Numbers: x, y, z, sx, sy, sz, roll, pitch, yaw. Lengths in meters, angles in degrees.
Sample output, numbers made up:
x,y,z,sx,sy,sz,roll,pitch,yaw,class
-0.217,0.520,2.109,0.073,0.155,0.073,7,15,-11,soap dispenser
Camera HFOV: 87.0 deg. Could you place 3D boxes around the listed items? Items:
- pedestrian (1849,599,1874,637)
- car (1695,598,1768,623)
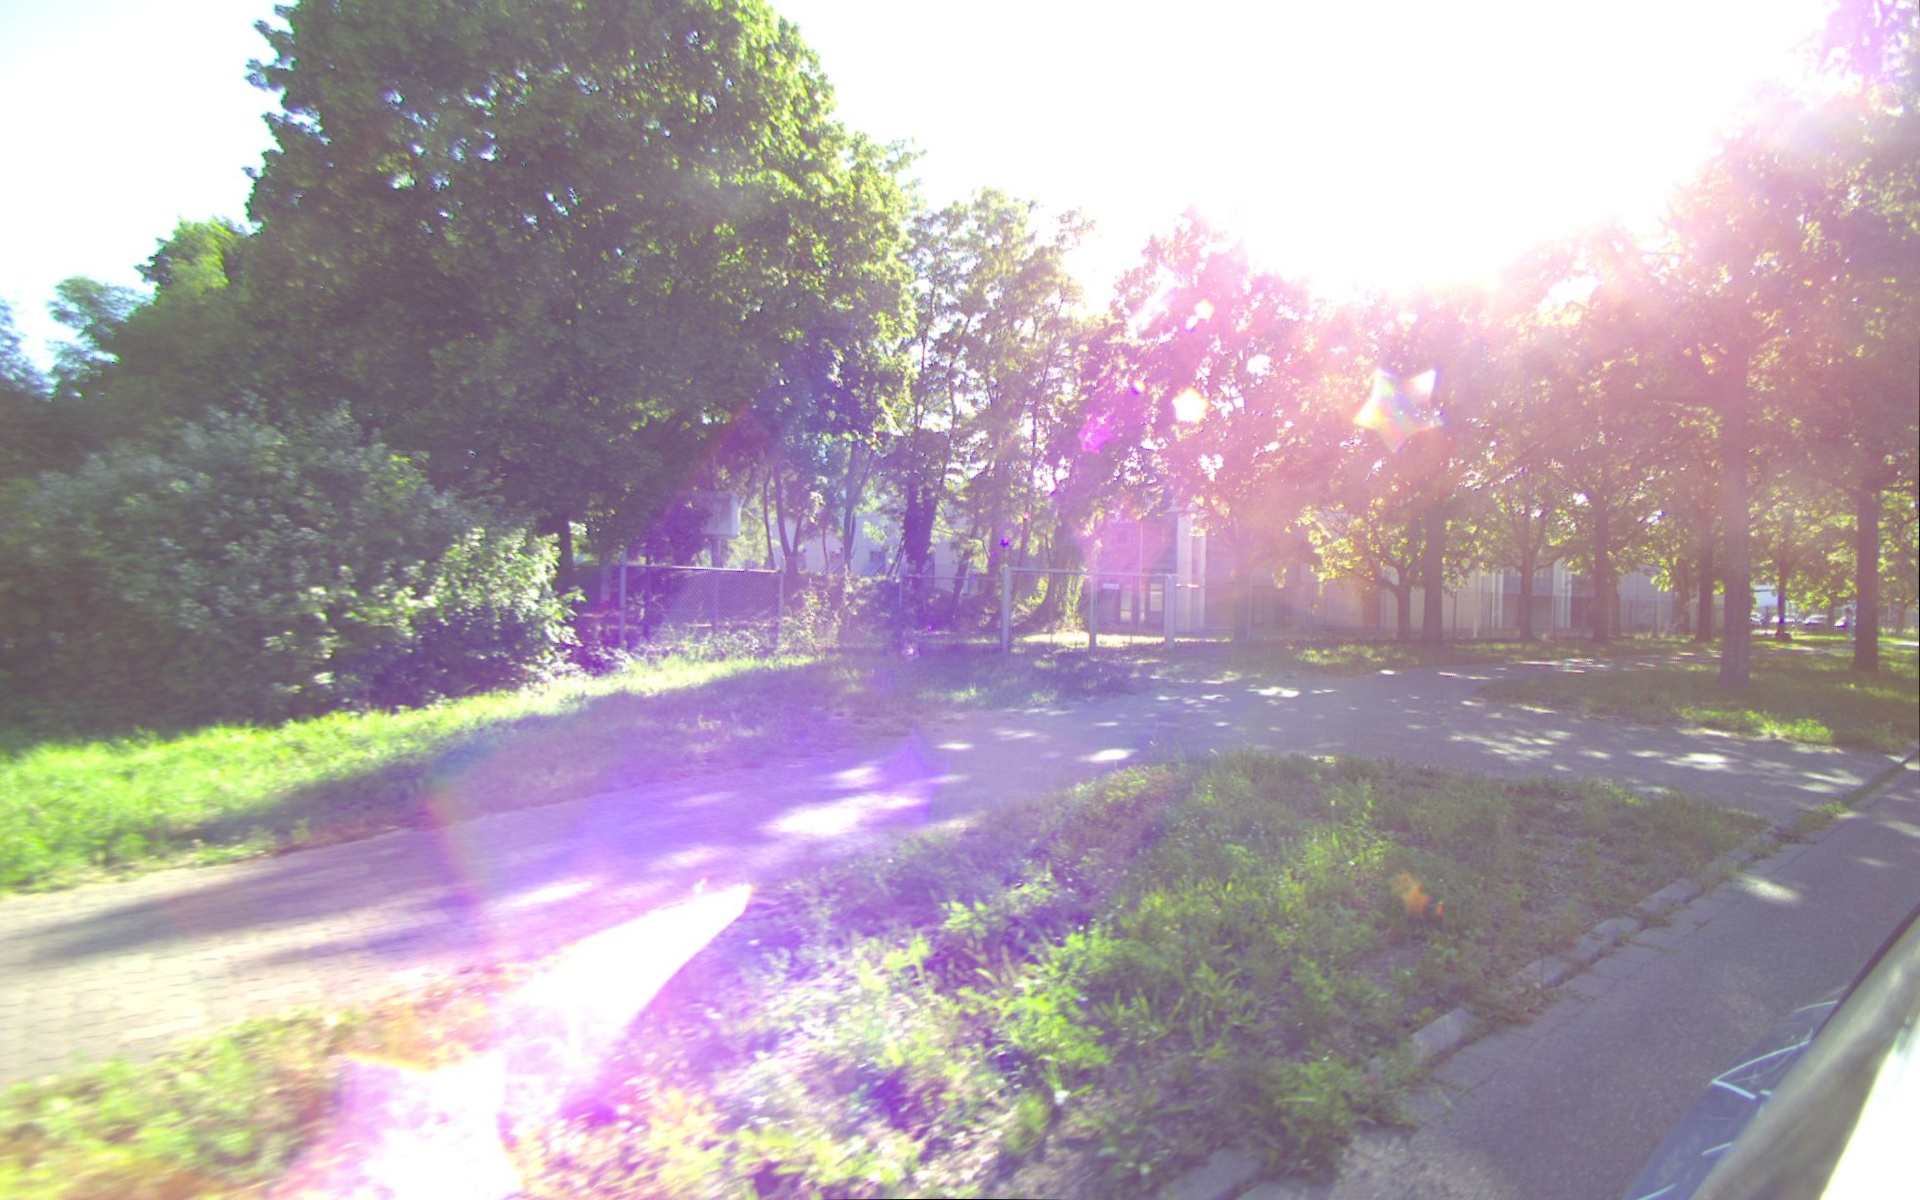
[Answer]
x,y,z,sx,sy,sz,roll,pitch,yaw,class
40.043,0.790,44.932,0.705,1.651,0.610,2,2,-37,pedestrian
71.820,0.954,94.235,1.861,1.983,5.075,1,2,-39,car
